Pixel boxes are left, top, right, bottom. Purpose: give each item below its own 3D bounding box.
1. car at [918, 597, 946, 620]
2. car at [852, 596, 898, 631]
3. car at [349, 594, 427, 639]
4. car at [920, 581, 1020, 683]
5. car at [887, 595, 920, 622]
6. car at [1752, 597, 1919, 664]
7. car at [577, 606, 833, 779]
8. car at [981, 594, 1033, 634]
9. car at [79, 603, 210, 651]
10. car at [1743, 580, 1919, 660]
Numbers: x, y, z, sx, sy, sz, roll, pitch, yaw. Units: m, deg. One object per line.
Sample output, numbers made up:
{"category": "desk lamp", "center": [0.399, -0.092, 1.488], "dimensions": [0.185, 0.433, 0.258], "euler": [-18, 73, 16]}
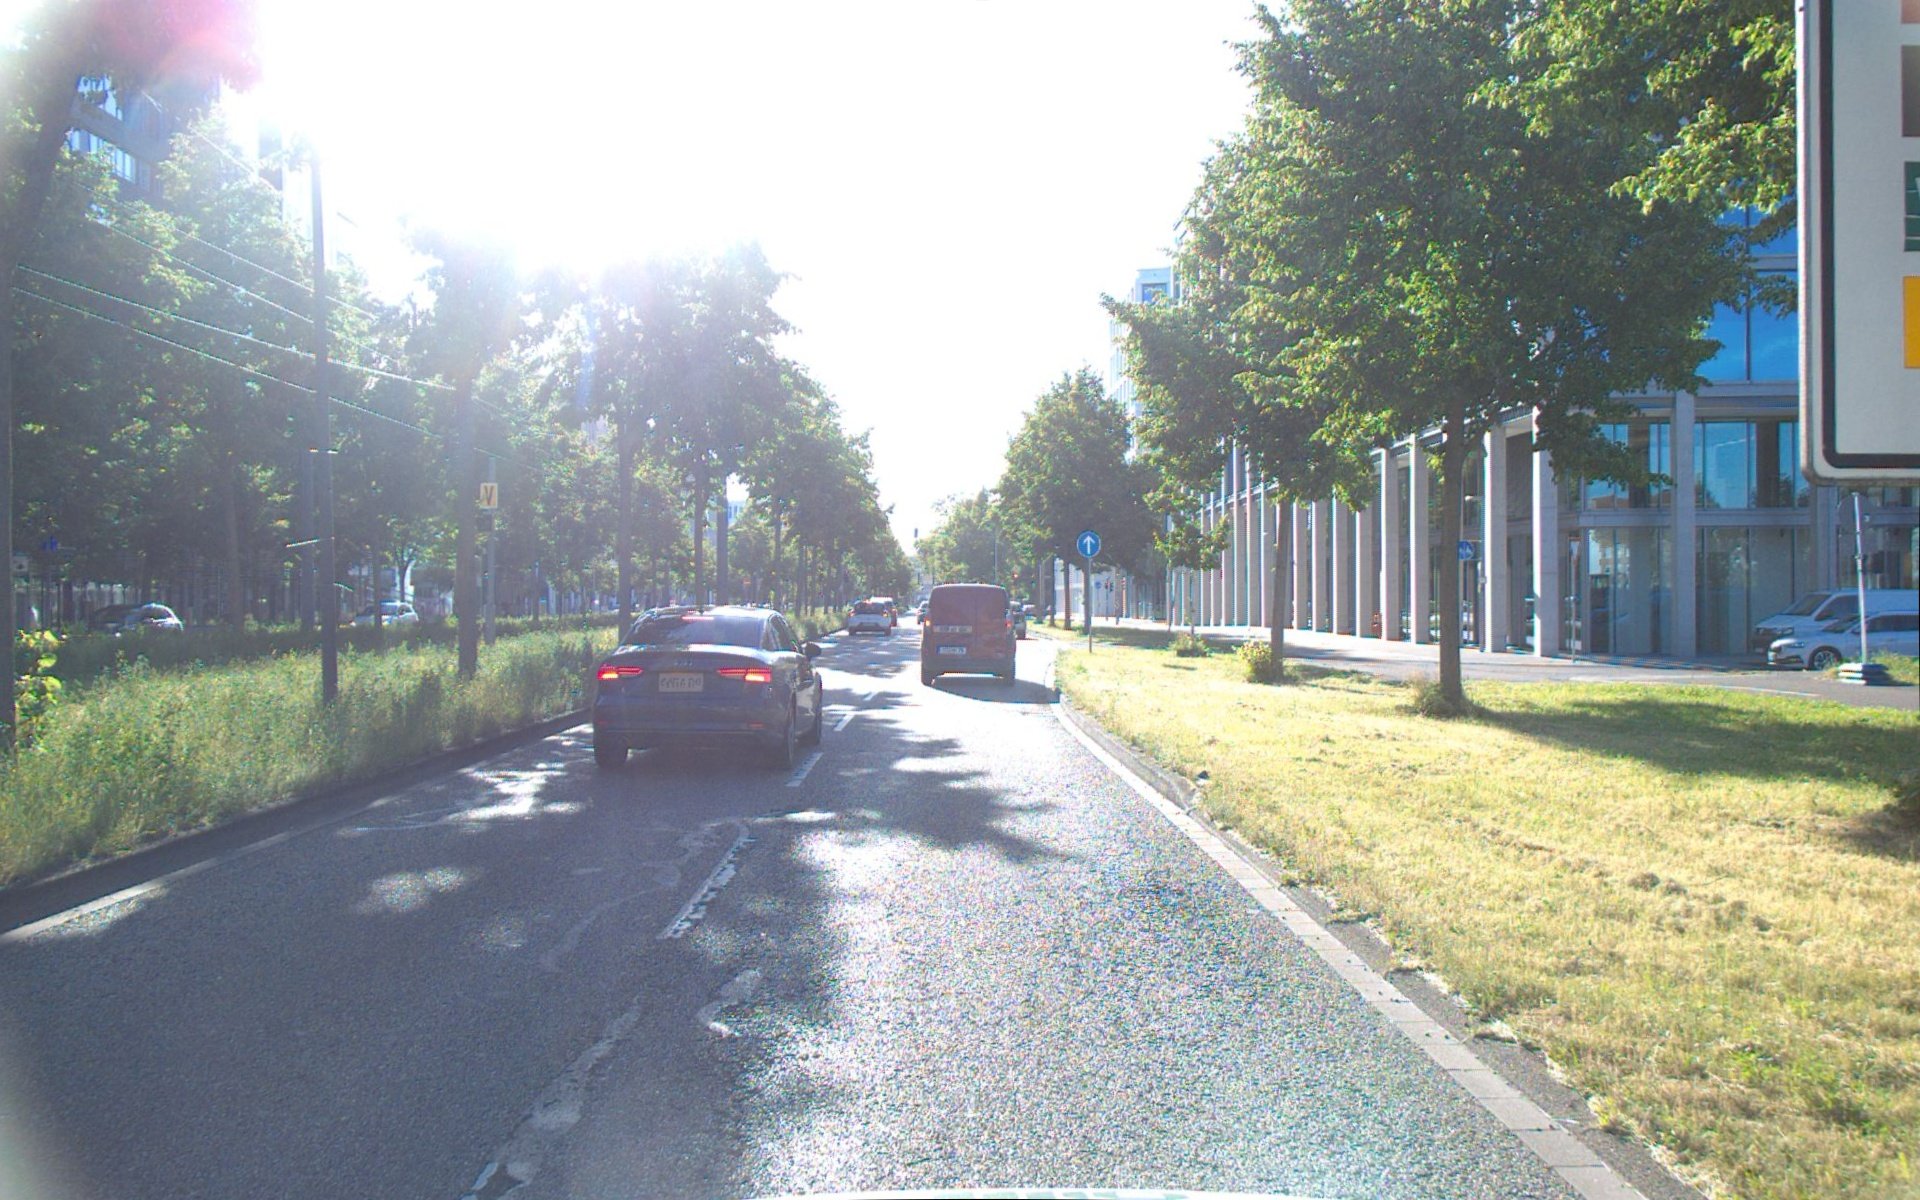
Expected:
{"category": "car", "center": [-1.765, 0.523, 103.510], "dimensions": [1.686, 1.450, 3.815], "euler": [0, 0, -1]}
{"category": "car", "center": [-3.618, 0.562, 70.267], "dimensions": [1.903, 1.466, 3.997], "euler": [0, 0, -3]}
{"category": "car", "center": [-23.328, 0.645, 67.605], "dimensions": [1.761, 1.718, 4.320], "euler": [1, 1, -1]}
{"category": "car", "center": [0.130, 0.557, 31.374], "dimensions": [1.761, 1.808, 3.999], "euler": [0, 0, -2]}
{"category": "car", "center": [-3.273, 0.469, 96.094], "dimensions": [1.805, 1.561, 3.939], "euler": [0, 0, 0]}
{"category": "car", "center": [21.125, 0.714, 38.588], "dimensions": [4.416, 1.417, 1.775], "euler": [1, 1, 11]}
{"category": "car", "center": [-2.233, 0.771, 15.545], "dimensions": [1.685, 1.390, 4.146], "euler": [1, -1, 1]}
{"category": "car", "center": [1.883, 0.549, 67.304], "dimensions": [1.687, 1.450, 3.813], "euler": [2, 1, -5]}
{"category": "car", "center": [-22.882, 0.739, 46.553], "dimensions": [1.761, 1.285, 3.999], "euler": [0, 0, -1]}
{"category": "car", "center": [23.030, 0.496, 42.455], "dimensions": [4.962, 2.016, 1.938], "euler": [0, 0, 0]}
